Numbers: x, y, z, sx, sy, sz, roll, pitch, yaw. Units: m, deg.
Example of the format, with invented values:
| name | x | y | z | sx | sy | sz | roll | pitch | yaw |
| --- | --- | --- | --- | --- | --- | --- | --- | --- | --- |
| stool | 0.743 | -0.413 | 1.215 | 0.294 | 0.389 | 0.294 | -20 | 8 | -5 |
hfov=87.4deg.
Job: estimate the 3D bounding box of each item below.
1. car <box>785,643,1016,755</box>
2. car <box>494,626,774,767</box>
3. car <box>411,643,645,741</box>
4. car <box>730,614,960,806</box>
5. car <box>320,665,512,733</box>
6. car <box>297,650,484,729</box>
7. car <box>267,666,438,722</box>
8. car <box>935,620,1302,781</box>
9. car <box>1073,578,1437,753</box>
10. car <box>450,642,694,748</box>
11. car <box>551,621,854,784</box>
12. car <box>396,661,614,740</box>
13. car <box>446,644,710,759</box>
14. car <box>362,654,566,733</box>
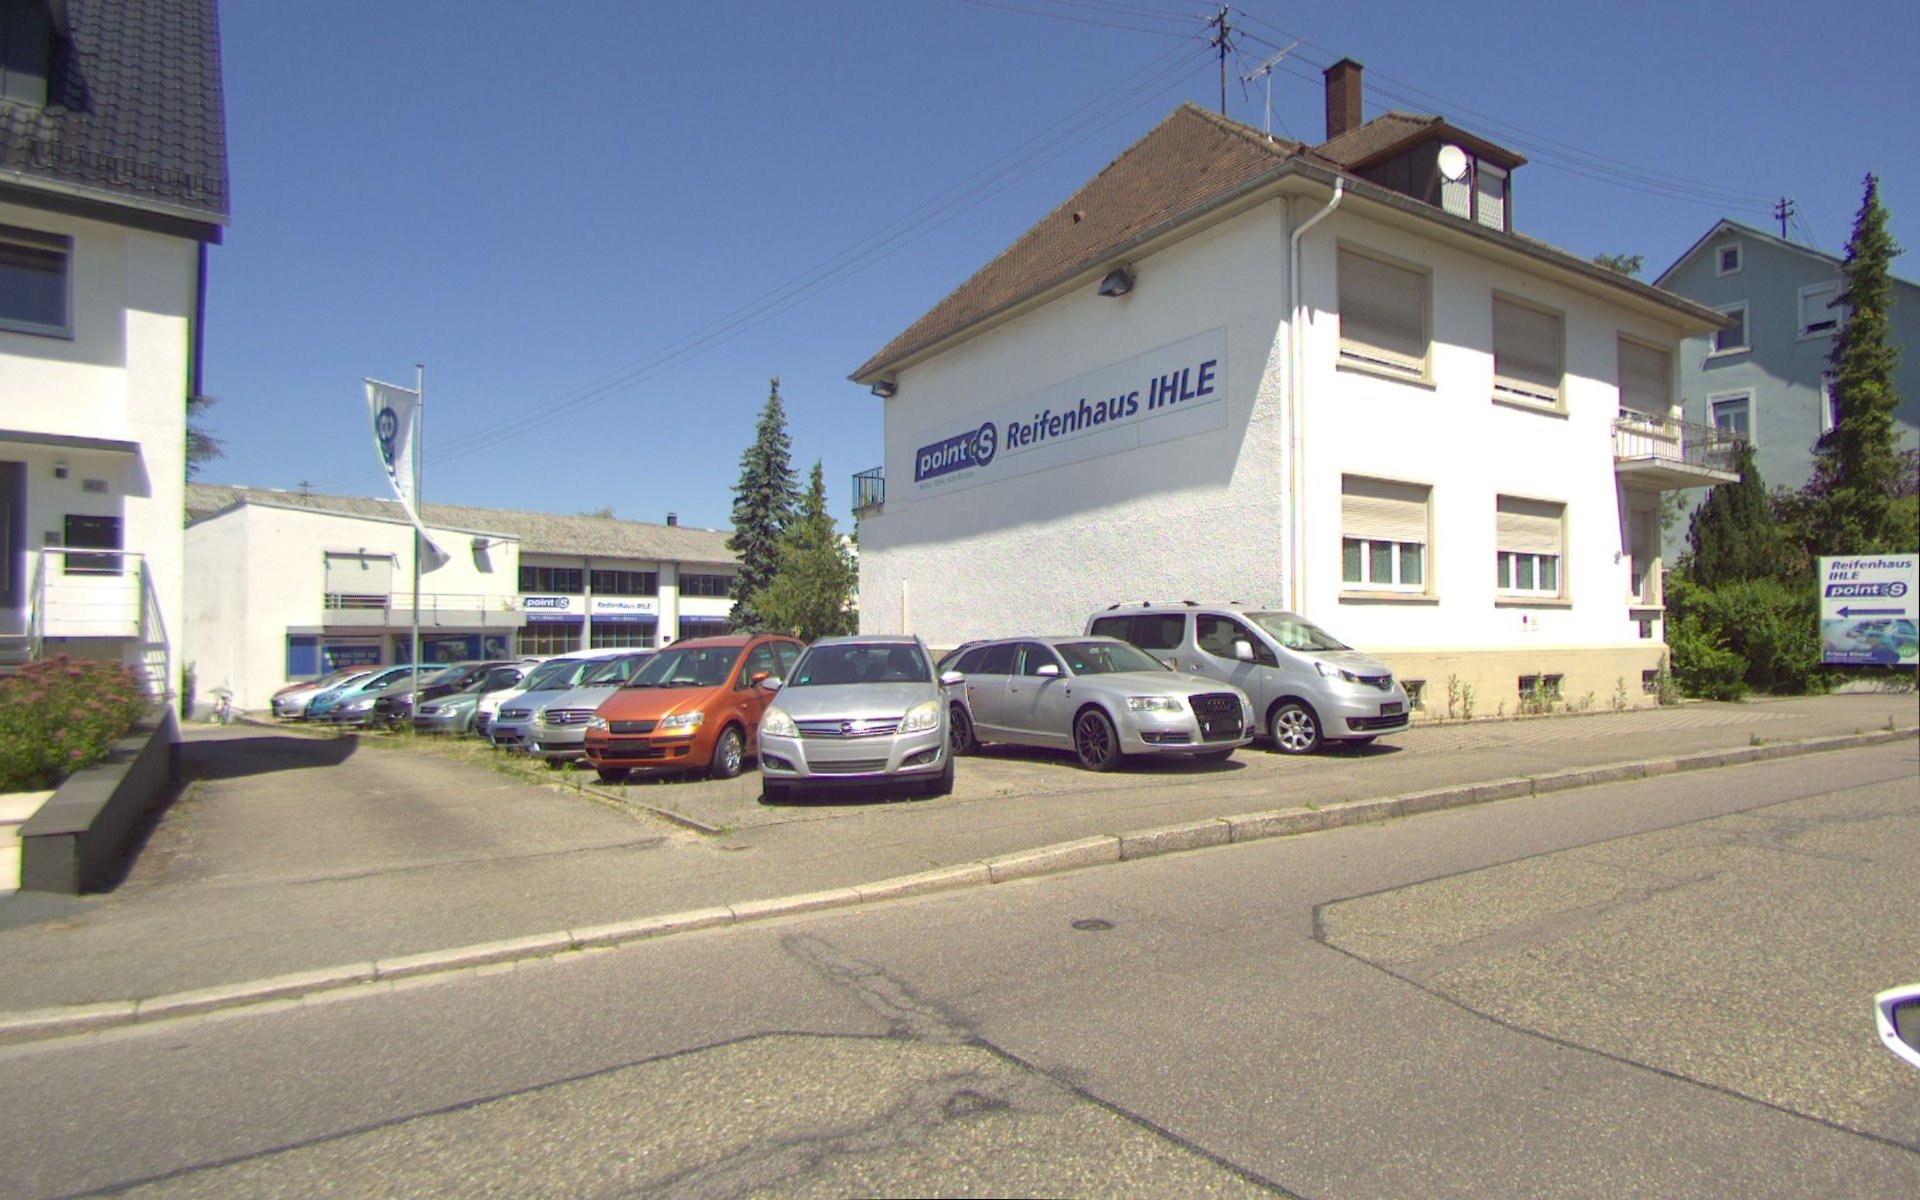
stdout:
| name | x | y | z | sx | sy | sz | roll | pitch | yaw |
| --- | --- | --- | --- | --- | --- | --- | --- | --- | --- |
| car | -1.136 | 1.603 | 16.262 | 1.952 | 1.514 | 4.454 | 1 | -6 | -30 |
| car | -4.544 | 1.365 | 14.696 | 1.960 | 1.750 | 4.003 | -3 | -4 | 16 |
| car | -8.820 | 1.841 | 20.832 | 1.795 | 1.778 | 4.174 | -5 | -4 | 33 |
| car | -0.932 | 1.013 | 10.276 | 1.839 | 1.514 | 4.277 | -1 | -3 | 0 |
| car | -14.184 | 2.520 | 26.340 | 1.933 | 1.426 | 4.038 | -3 | -2 | 43 |
| car | -16.069 | 2.438 | 28.476 | 2.106 | 1.951 | 4.162 | -1 | -2 | 42 |
| car | -17.902 | 2.723 | 29.727 | 1.741 | 1.426 | 4.039 | -2 | -2 | 43 |
| car | 1.616 | 1.095 | 11.953 | 1.952 | 1.515 | 4.452 | 1 | -4 | -30 |
| car | 3.676 | 0.856 | 13.232 | 1.834 | 1.901 | 4.319 | 1 | -4 | -38 |
| car | -7.271 | 1.742 | 19.260 | 1.793 | 1.778 | 4.179 | -5 | -4 | 29 |
| car | -2.962 | 1.190 | 12.581 | 1.816 | 1.665 | 4.210 | -2 | -3 | 15 |
| car | -10.158 | 2.200 | 22.660 | 1.930 | 1.507 | 4.047 | -5 | -4 | 37 |
| car | -6.141 | 1.624 | 16.604 | 1.791 | 1.645 | 3.941 | -4 | -5 | 25 |
| car | -11.971 | 2.220 | 24.456 | 1.930 | 1.718 | 4.047 | -4 | -5 | 37 |
